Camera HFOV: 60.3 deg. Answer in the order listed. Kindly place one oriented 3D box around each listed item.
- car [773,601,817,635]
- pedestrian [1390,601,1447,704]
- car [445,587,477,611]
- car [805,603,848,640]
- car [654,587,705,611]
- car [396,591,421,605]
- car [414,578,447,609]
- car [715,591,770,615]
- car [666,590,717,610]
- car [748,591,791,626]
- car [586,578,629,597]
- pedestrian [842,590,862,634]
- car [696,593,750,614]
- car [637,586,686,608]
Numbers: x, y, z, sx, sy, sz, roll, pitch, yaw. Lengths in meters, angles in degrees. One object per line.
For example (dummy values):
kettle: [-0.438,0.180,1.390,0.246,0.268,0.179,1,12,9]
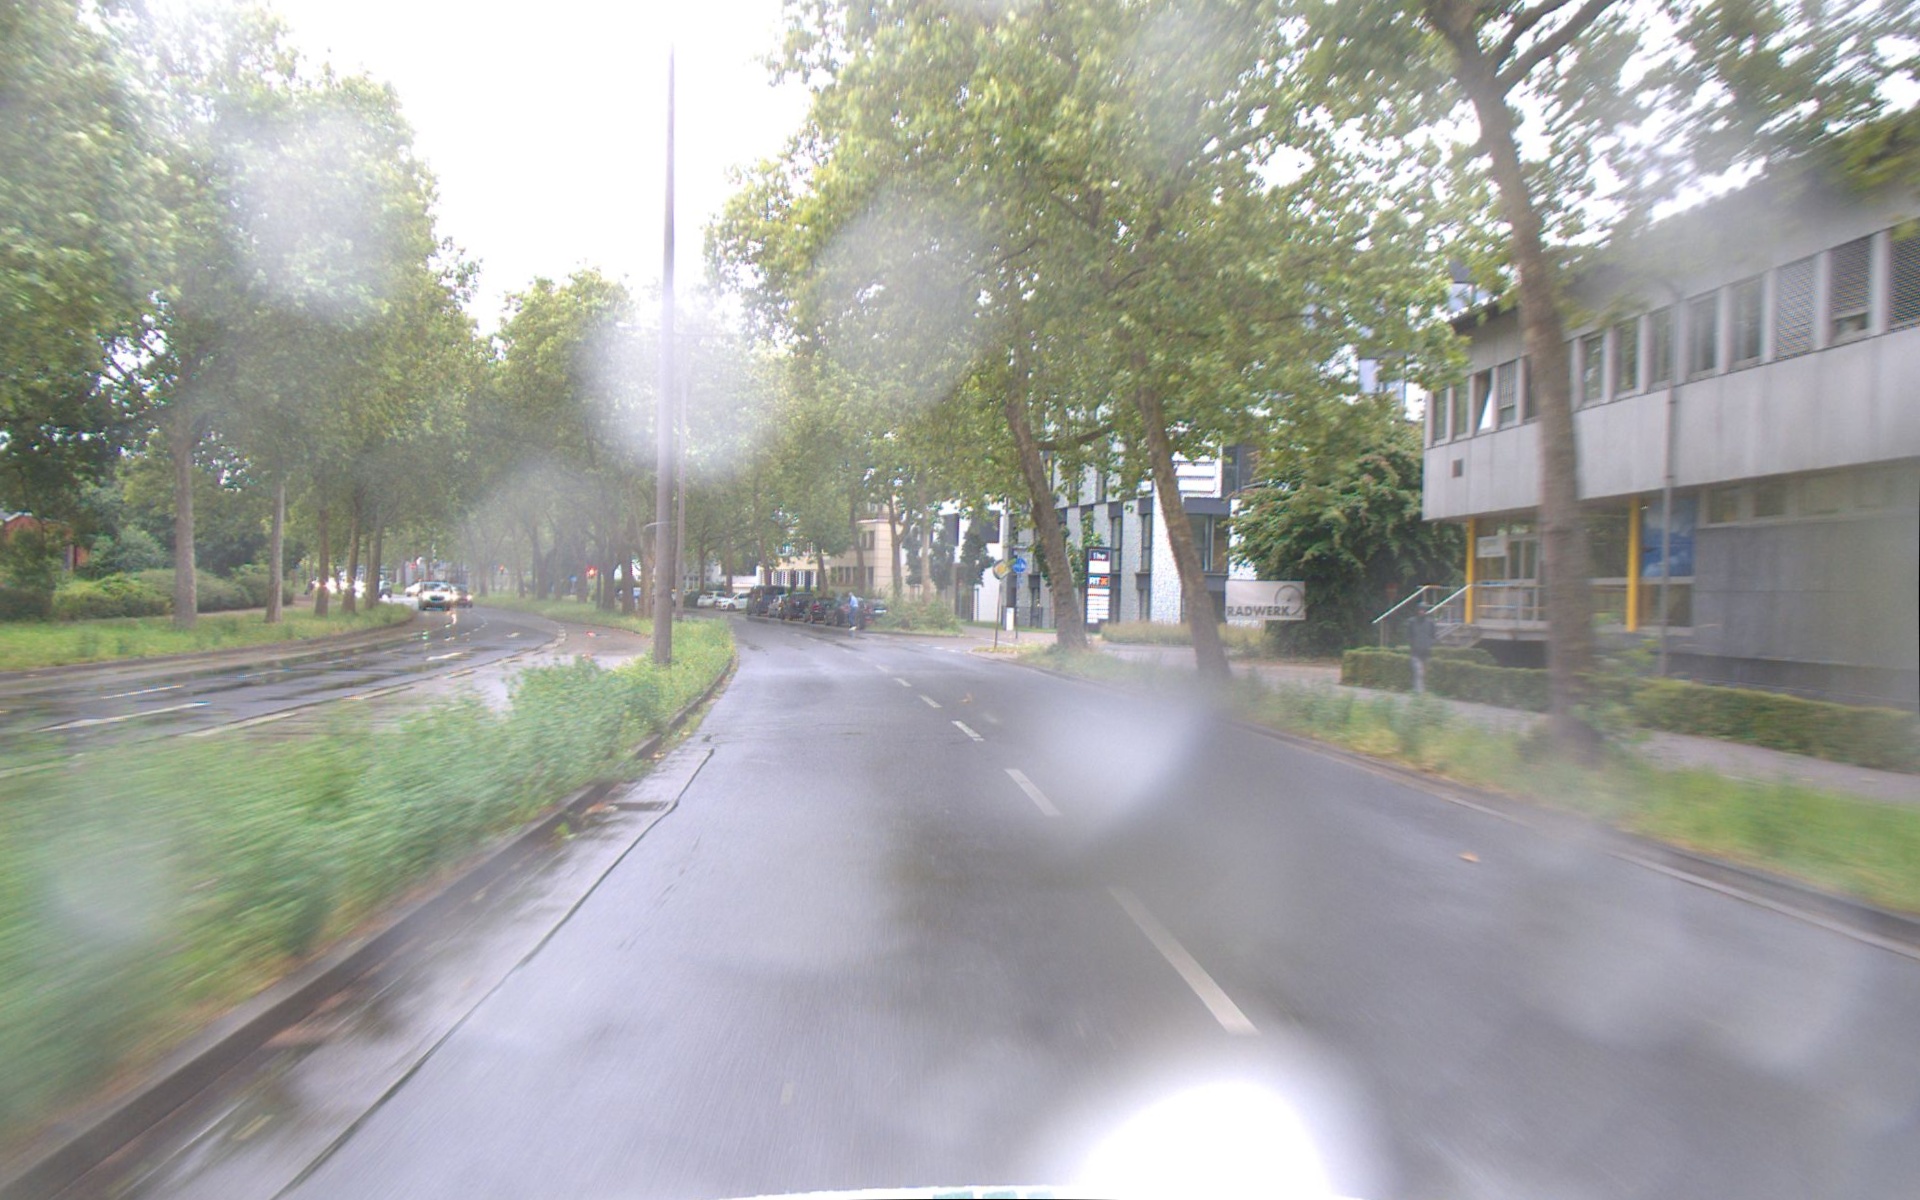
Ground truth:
car: [-9.726,1.044,97.112,1.960,1.813,3.985,1,1,-15]
pedestrian: [7.794,0.871,28.114,0.659,1.697,0.822,2,1,33]
car: [-39.742,-0.102,131.700,1.967,1.746,3.971,1,1,-24]
car: [-7.306,1.139,90.327,1.957,1.813,3.991,2,1,-10]
car: [-24.332,-0.085,143.338,3.945,1.863,1.980,1,1,-30]
car: [-57.875,-0.199,173.486,1.744,1.248,3.745,1,1,-30]
car: [-37.346,-0.477,116.657,1.953,2.048,3.975,1,1,-22]
car: [-16.607,0.222,126.376,3.814,1.679,1.875,1,1,-22]
car: [-22.514,-0.018,138.558,3.822,1.530,1.871,1,1,-28]
car: [-12.568,0.534,108.764,2.088,2.124,3.982,1,1,-17]
car: [-36.404,-1.324,170.681,3.939,1.851,1.983,1,1,-27]
pedestrian: [-4.967,0.559,75.867,0.691,1.984,0.858,2,1,10]
car: [-18.622,0.313,129.982,3.822,1.519,1.871,1,1,-28]
car: [-26.781,-0.272,148.379,3.939,1.851,1.983,1,1,-27]
